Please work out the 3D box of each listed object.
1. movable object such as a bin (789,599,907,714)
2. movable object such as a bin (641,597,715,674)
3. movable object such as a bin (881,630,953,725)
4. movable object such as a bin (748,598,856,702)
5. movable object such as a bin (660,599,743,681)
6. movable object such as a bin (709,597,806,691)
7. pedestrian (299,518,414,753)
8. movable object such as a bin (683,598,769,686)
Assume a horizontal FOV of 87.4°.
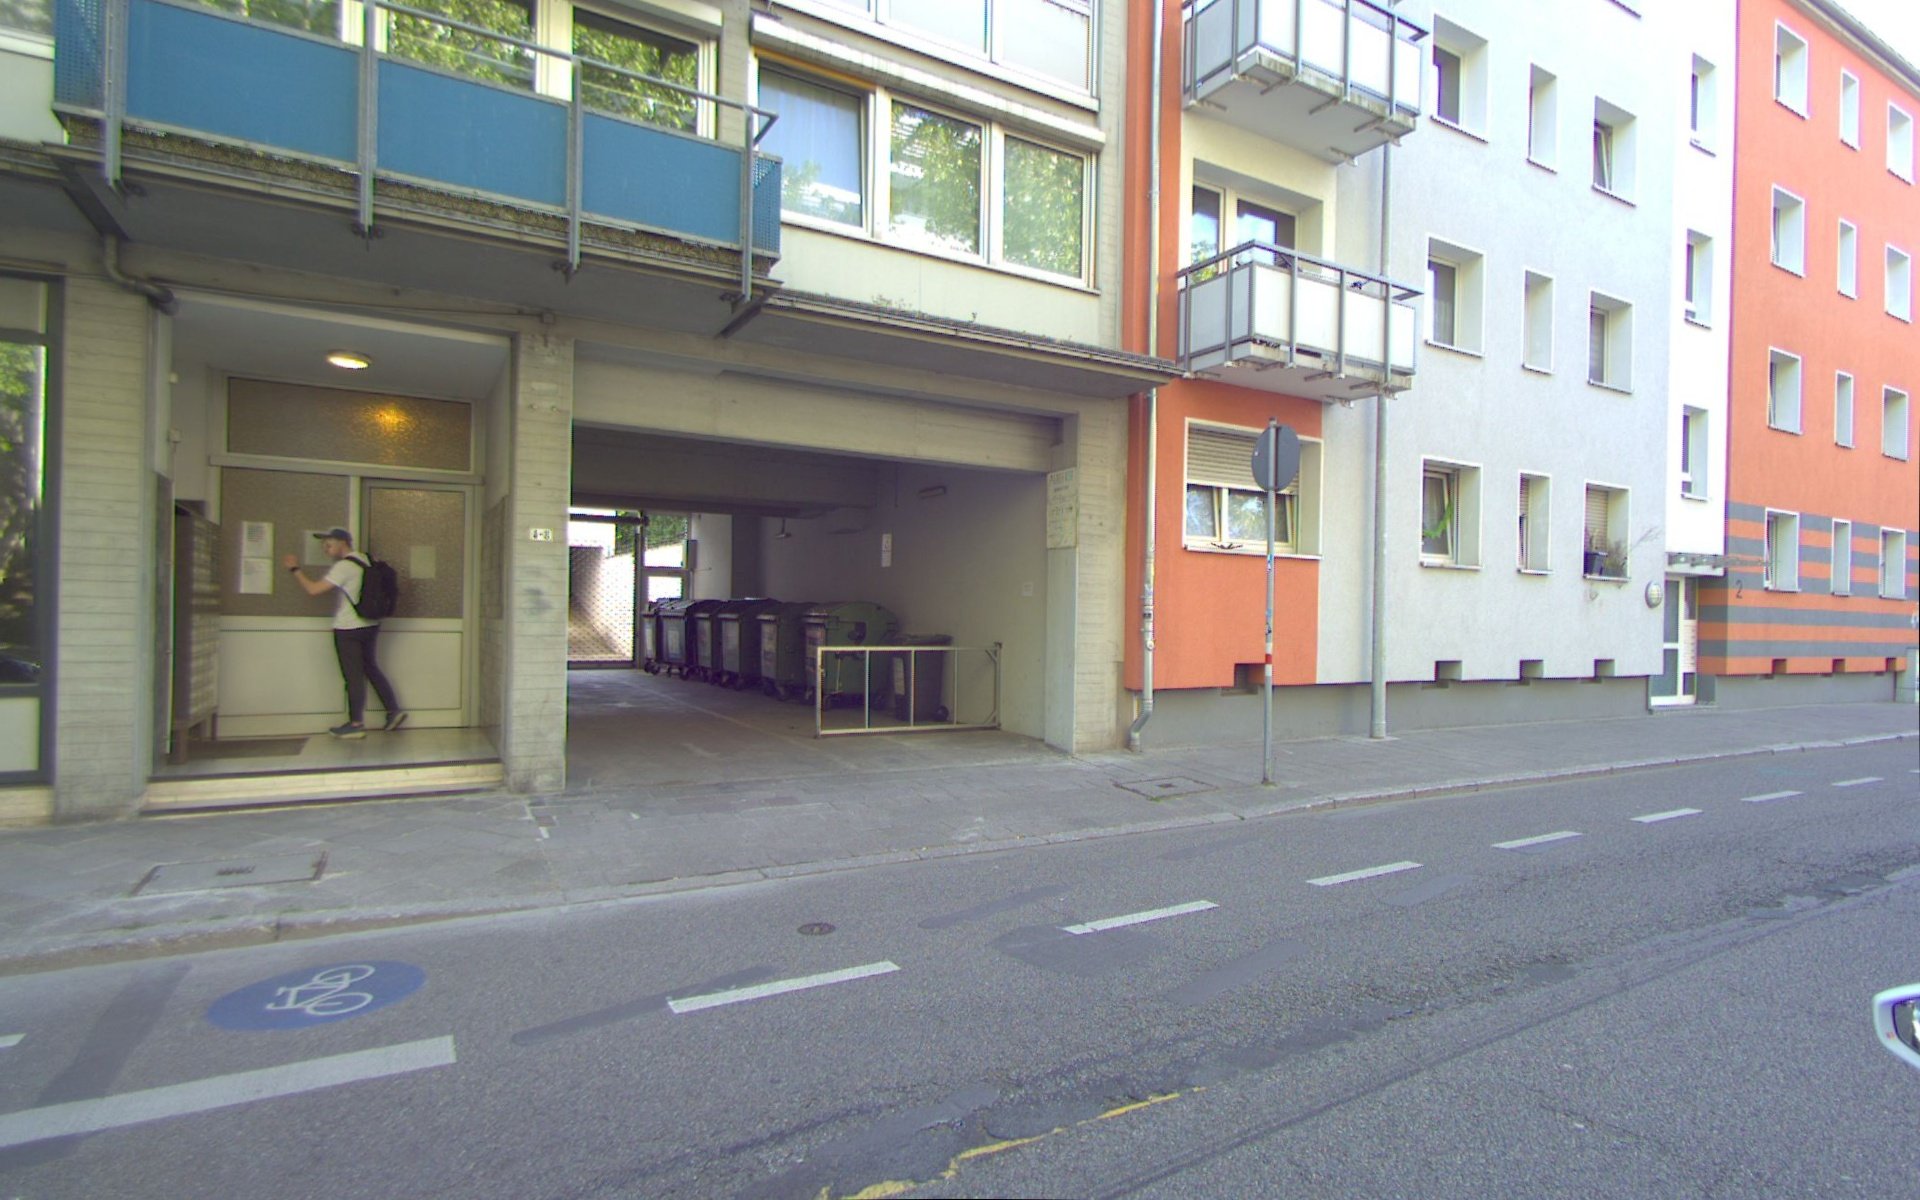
[{"bbox_3d":[-1.559,0.747,13.802,1.159,1.467,1.319,2,0,-30],"label":"movable object such as a bin"},{"bbox_3d":[-5.611,0.694,19.982,1.186,1.467,1.027,2,0,-30],"label":"movable object such as a bin"},{"bbox_3d":[-0.531,0.947,12.410,0.745,1.116,0.463,2,0,-30],"label":"movable object such as a bin"},{"bbox_3d":[-2.399,0.728,15.135,1.186,1.467,1.319,2,0,-30],"label":"movable object such as a bin"},{"bbox_3d":[-4.835,0.729,18.753,1.186,1.467,1.222,2,0,-30],"label":"movable object such as a bin"},{"bbox_3d":[-3.365,0.707,16.619,1.186,1.467,1.319,2,0,-30],"label":"movable object such as a bin"},{"bbox_3d":[-5.130,0.294,8.578,0.777,1.904,0.577,2,0,-30],"label":"pedestrian"},{"bbox_3d":[-4.136,0.727,17.710,1.186,1.467,1.114,2,0,-30],"label":"movable object such as a bin"}]
